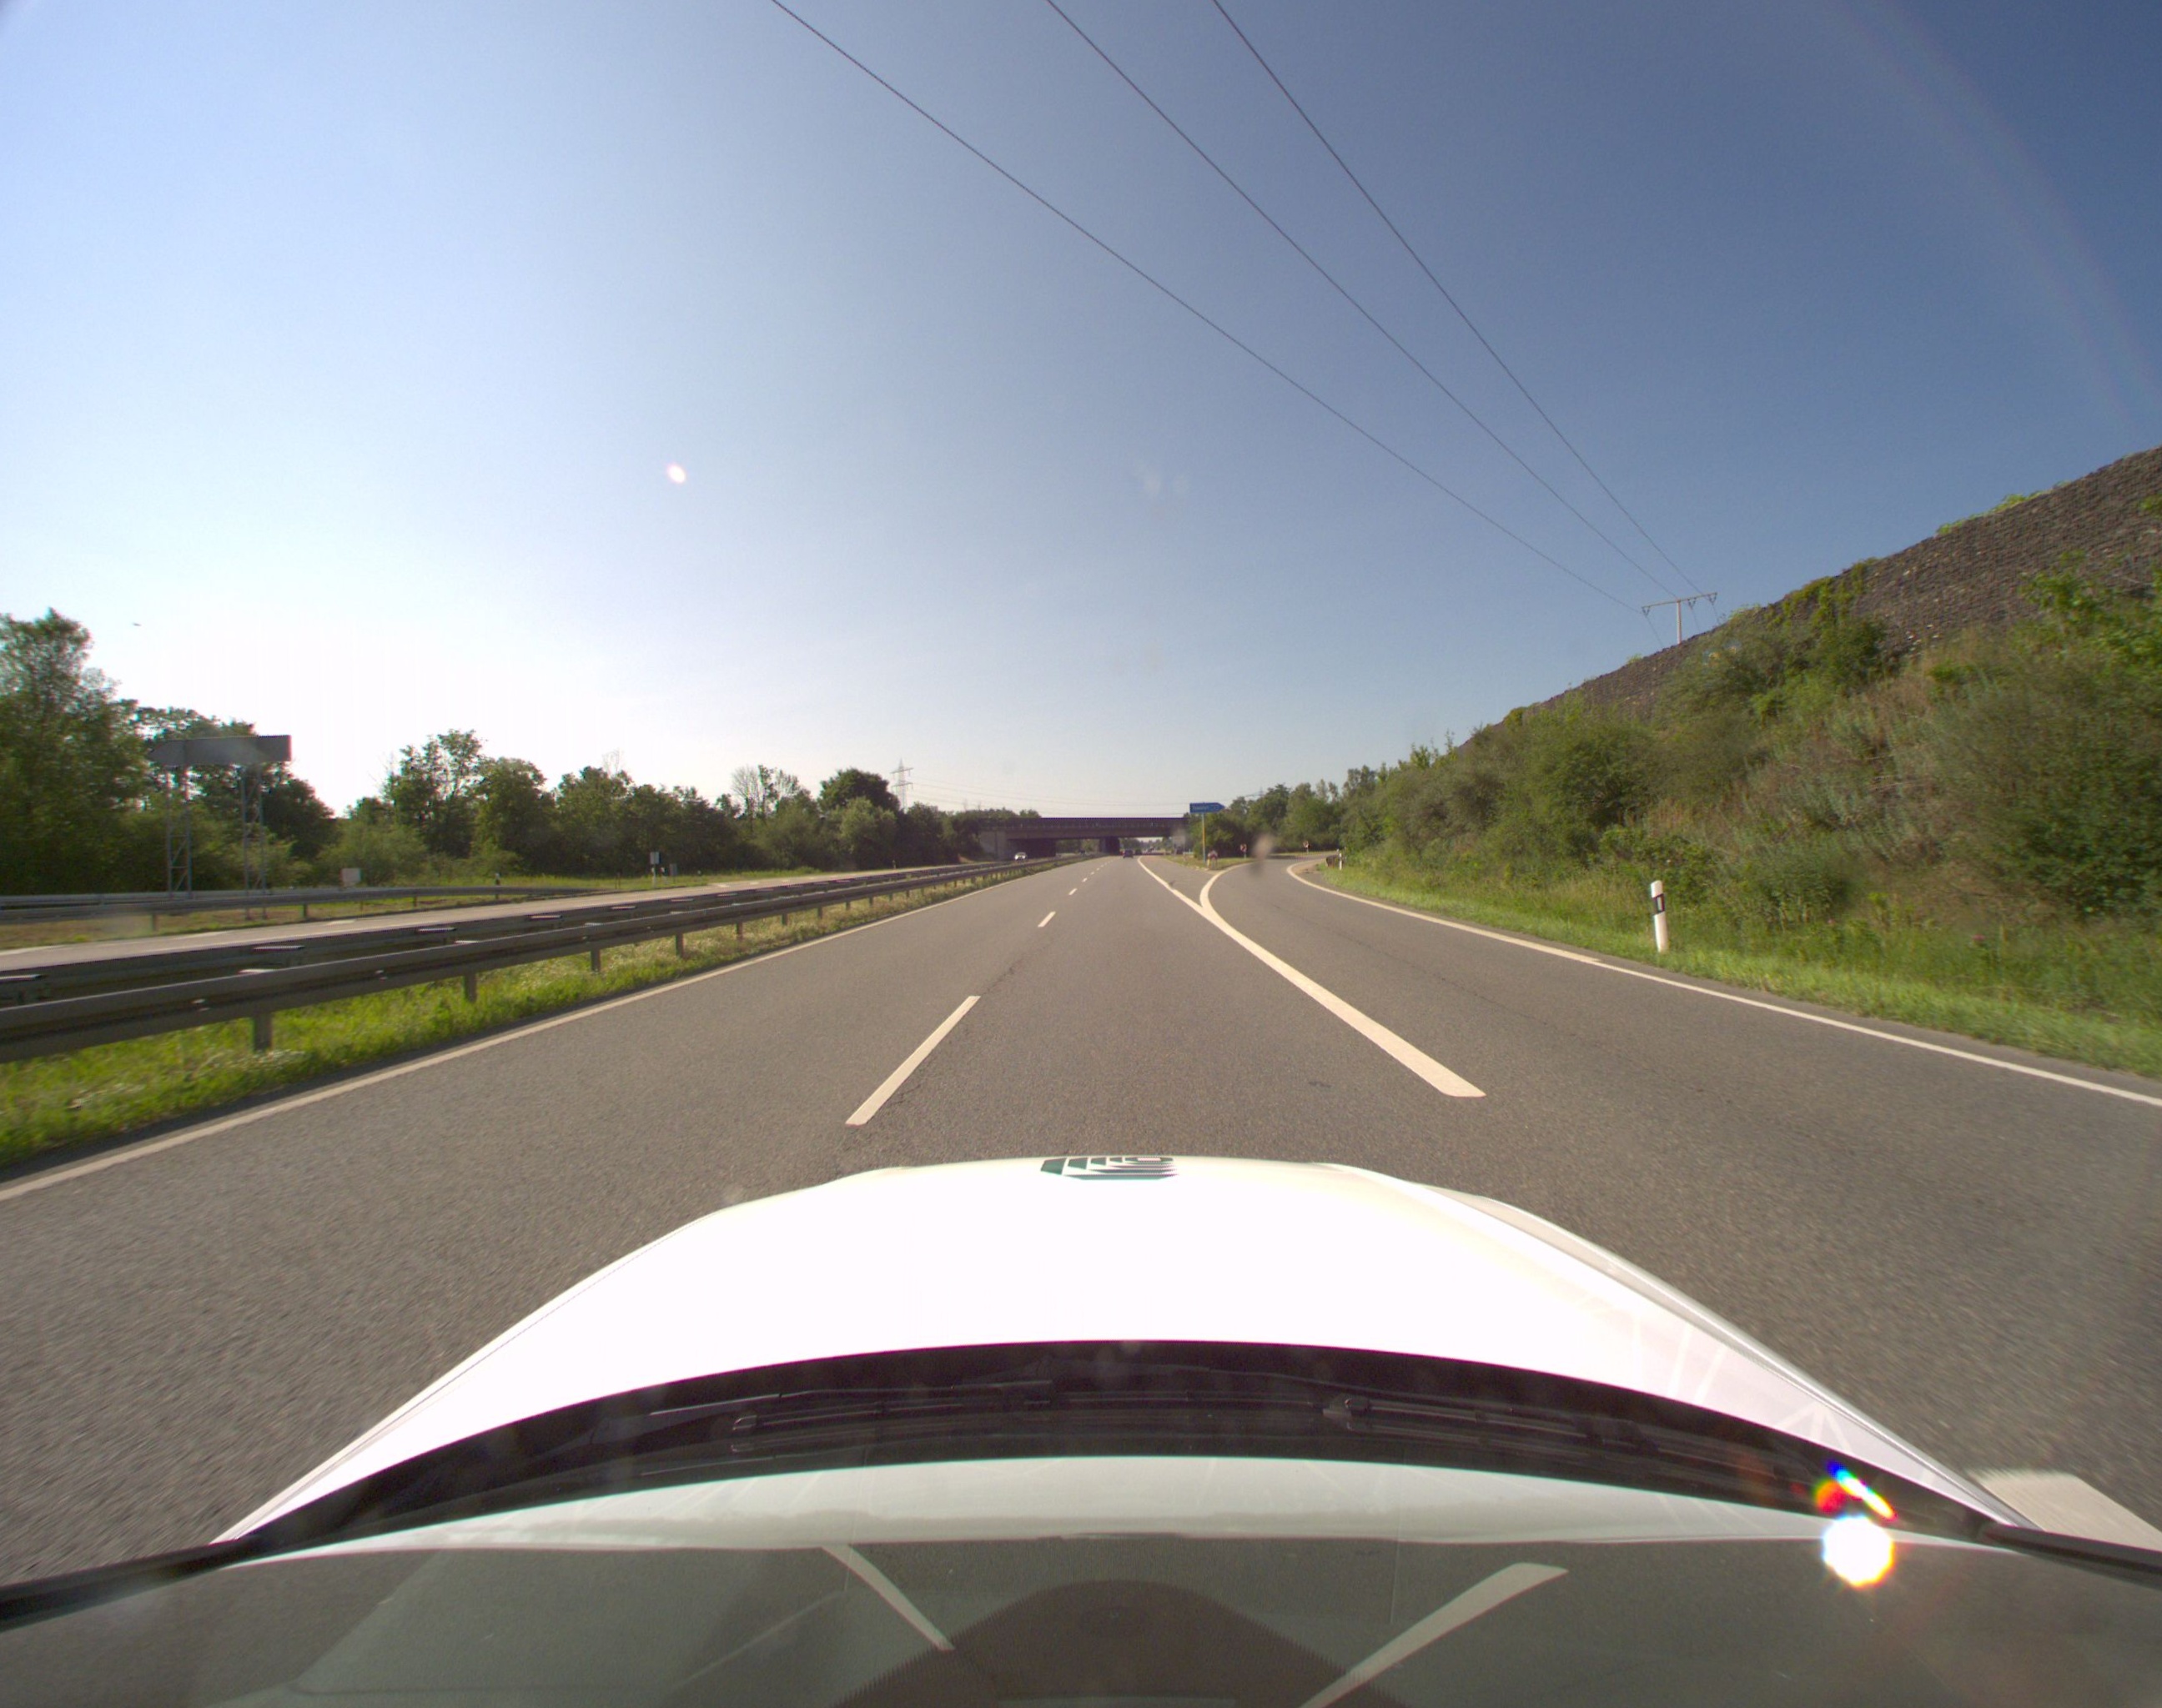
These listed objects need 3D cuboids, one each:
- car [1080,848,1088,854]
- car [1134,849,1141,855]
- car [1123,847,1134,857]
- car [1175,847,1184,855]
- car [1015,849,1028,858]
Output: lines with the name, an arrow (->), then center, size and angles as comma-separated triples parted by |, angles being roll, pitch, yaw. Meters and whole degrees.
car -> 0.843, -0.913, 235.769 | 1.954, 1.409, 3.639 | -2, 1, 3
car -> 14.292, -0.541, 205.177 | 1.841, 1.644, 4.005 | -1, 0, 4
car -> 8.568, -0.330, 145.336 | 1.841, 1.644, 4.005 | -3, 0, 4
car -> 21.771, -0.722, 180.313 | 1.841, 1.644, 4.005 | -1, 0, 4
car -> -10.081, -0.094, 138.466 | 1.667, 1.409, 3.766 | 0, 1, 3
